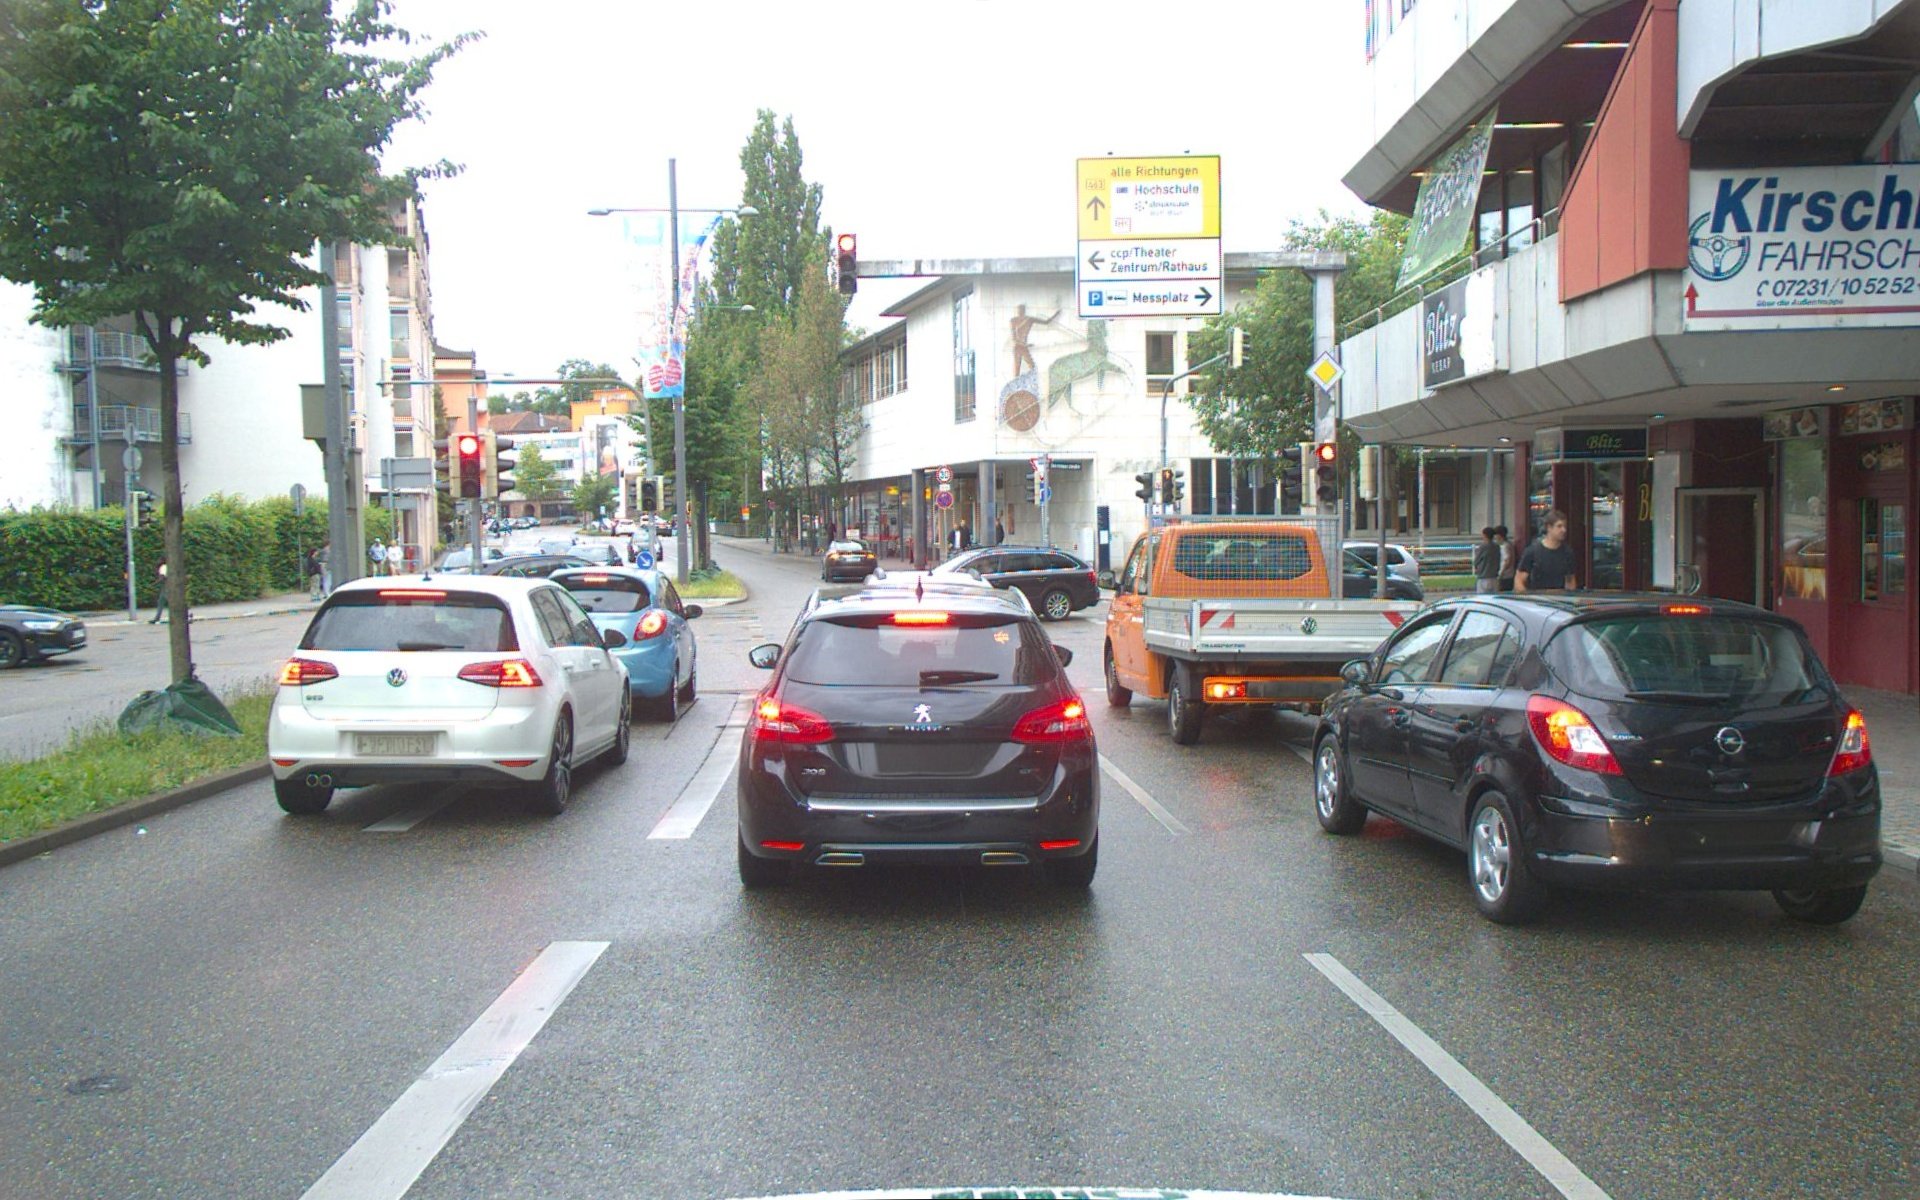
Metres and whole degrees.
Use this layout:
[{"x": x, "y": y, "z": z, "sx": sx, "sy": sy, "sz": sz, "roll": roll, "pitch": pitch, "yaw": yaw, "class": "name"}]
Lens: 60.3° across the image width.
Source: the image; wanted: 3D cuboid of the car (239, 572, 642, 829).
[{"x": -3.354, "y": 0.551, "z": 11.435, "sx": 1.742, "sy": 1.454, "sz": 3.840, "roll": 1, "pitch": 1, "yaw": -3, "class": "car"}]

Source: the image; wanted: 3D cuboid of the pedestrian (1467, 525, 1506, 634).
[{"x": 8.410, "y": -0.317, "z": 26.410, "sx": 0.417, "sy": 1.712, "sz": 0.450, "roll": -1, "pitch": -1, "yaw": -2, "class": "pedestrian"}]

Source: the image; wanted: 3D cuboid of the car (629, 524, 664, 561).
[{"x": -16.350, "y": -2.976, "z": 86.245, "sx": 1.713, "sy": 1.669, "sz": 3.989, "roll": 1, "pitch": -1, "yaw": -11, "class": "car"}]

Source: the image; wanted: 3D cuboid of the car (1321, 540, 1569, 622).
[{"x": 9.575, "y": -0.411, "z": 32.768, "sx": 4.410, "sy": 1.480, "sz": 1.789, "roll": -1, "pitch": 3, "yaw": -10, "class": "car"}]

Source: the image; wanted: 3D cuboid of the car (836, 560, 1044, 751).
[{"x": -0.194, "y": 0.409, "z": 15.300, "sx": 1.662, "sy": 1.512, "sz": 3.793, "roll": 1, "pitch": 2, "yaw": -1, "class": "car"}]

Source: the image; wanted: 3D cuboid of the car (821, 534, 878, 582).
[{"x": -3.977, "y": -1.449, "z": 58.979, "sx": 1.692, "sy": 1.516, "sz": 4.724, "roll": 1, "pitch": -1, "yaw": -8, "class": "car"}]

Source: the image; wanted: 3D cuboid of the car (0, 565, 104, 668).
[{"x": -16.312, "y": 0.281, "z": 26.584, "sx": 4.152, "sy": 1.592, "sz": 1.700, "roll": -1, "pitch": 1, "yaw": -12, "class": "car"}]

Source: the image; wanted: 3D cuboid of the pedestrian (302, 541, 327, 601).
[{"x": -19.427, "y": -0.877, "z": 49.808, "sx": 0.529, "sy": 1.778, "sz": 0.746, "roll": 1, "pitch": -1, "yaw": -9, "class": "pedestrian"}]

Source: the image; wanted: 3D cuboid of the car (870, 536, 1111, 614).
[{"x": 0.614, "y": -0.503, "z": 33.653, "sx": 4.647, "sy": 1.512, "sz": 1.631, "roll": 0, "pitch": 1, "yaw": -17, "class": "car"}]

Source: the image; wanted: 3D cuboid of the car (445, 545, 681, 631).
[{"x": -8.193, "y": -0.297, "z": 34.233, "sx": 4.438, "sy": 1.479, "sz": 1.778, "roll": -4, "pitch": 3, "yaw": -26, "class": "car"}]

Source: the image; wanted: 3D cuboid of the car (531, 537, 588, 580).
[{"x": -14.743, "y": -1.534, "z": 61.022, "sx": 1.602, "sy": 1.512, "sz": 3.605, "roll": 1, "pitch": 2, "yaw": -7, "class": "car"}]

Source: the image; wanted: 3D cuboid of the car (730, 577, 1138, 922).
[{"x": -0.193, "y": 0.624, "z": 9.043, "sx": 1.742, "sy": 1.454, "sz": 3.840, "roll": 1, "pitch": 1, "yaw": -3, "class": "car"}]

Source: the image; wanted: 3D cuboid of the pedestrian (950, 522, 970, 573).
[{"x": 0.013, "y": -1.843, "z": 58.194, "sx": 0.623, "sy": 1.788, "sz": 0.734, "roll": 1, "pitch": -1, "yaw": 6, "class": "pedestrian"}]

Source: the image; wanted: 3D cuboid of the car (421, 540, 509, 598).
[{"x": -13.655, "y": -0.876, "z": 45.794, "sx": 1.543, "sy": 1.512, "sz": 3.607, "roll": 1, "pitch": 2, "yaw": -4, "class": "car"}]

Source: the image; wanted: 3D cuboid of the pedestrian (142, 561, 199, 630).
[{"x": -18.913, "y": -0.102, "z": 39.641, "sx": 1.041, "sy": 1.606, "sz": 0.683, "roll": 1, "pitch": -1, "yaw": -5, "class": "pedestrian"}]

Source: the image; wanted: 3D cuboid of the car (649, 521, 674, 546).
[{"x": -26.458, "y": -5.873, "z": 146.735, "sx": 1.679, "sy": 1.970, "sz": 3.980, "roll": 1, "pitch": -1, "yaw": -18, "class": "car"}]

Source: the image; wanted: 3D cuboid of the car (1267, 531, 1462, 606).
[{"x": 8.780, "y": -0.653, "z": 36.011, "sx": 3.828, "sy": 1.512, "sz": 1.618, "roll": 1, "pitch": -1, "yaw": -13, "class": "car"}]

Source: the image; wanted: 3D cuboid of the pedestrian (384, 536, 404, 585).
[{"x": -20.960, "y": -1.461, "z": 61.265, "sx": 0.584, "sy": 1.758, "sz": 0.655, "roll": 1, "pitch": -1, "yaw": -9, "class": "pedestrian"}]

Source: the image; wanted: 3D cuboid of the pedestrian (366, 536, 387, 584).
[{"x": -21.567, "y": -1.481, "z": 61.132, "sx": 0.584, "sy": 1.758, "sz": 0.655, "roll": 1, "pitch": -1, "yaw": -9, "class": "pedestrian"}]

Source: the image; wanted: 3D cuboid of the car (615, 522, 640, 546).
[{"x": -29.300, "y": -5.801, "z": 145.625, "sx": 1.679, "sy": 1.915, "sz": 3.980, "roll": 1, "pitch": -1, "yaw": -18, "class": "car"}]

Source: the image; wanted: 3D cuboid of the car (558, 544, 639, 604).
[{"x": -10.511, "y": -0.714, "z": 48.297, "sx": 1.710, "sy": 1.607, "sz": 3.996, "roll": 1, "pitch": -1, "yaw": -4, "class": "car"}]

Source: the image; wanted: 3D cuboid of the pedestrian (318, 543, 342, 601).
[{"x": -19.536, "y": -0.852, "z": 51.293, "sx": 0.528, "sy": 1.778, "sz": 0.564, "roll": 1, "pitch": -1, "yaw": -6, "class": "pedestrian"}]

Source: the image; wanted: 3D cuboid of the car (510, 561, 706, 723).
[{"x": -3.610, "y": 0.361, "z": 17.470, "sx": 1.601, "sy": 1.512, "sz": 3.606, "roll": 1, "pitch": 2, "yaw": -6, "class": "car"}]

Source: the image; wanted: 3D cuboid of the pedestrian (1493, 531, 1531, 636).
[{"x": 8.943, "y": -0.261, "z": 26.799, "sx": 0.388, "sy": 1.668, "sz": 0.504, "roll": -1, "pitch": -1, "yaw": 0, "class": "pedestrian"}]

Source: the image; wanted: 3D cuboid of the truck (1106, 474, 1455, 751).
[{"x": 2.819, "y": 0.035, "z": 15.884, "sx": 2.133, "sy": 2.210, "sz": 5.018, "roll": 1, "pitch": 2, "yaw": -3, "class": "truck"}]

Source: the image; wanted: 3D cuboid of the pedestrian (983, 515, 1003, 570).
[{"x": 1.181, "y": -2.052, "z": 59.283, "sx": 0.623, "sy": 1.930, "sz": 0.734, "roll": 1, "pitch": -1, "yaw": 6, "class": "pedestrian"}]

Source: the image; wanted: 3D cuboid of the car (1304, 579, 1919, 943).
[{"x": 3.112, "y": 0.641, "z": 8.700, "sx": 1.584, "sy": 1.454, "sz": 3.839, "roll": 1, "pitch": 1, "yaw": -4, "class": "car"}]

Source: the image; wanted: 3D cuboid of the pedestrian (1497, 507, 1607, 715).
[{"x": 5.514, "y": 0.100, "z": 15.451, "sx": 0.726, "sy": 1.847, "sz": 0.774, "roll": -4, "pitch": -1, "yaw": 11, "class": "pedestrian"}]

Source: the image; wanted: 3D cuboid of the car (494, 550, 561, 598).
[{"x": -14.136, "y": -0.874, "z": 54.191, "sx": 1.602, "sy": 1.512, "sz": 3.605, "roll": 1, "pitch": 2, "yaw": -7, "class": "car"}]
